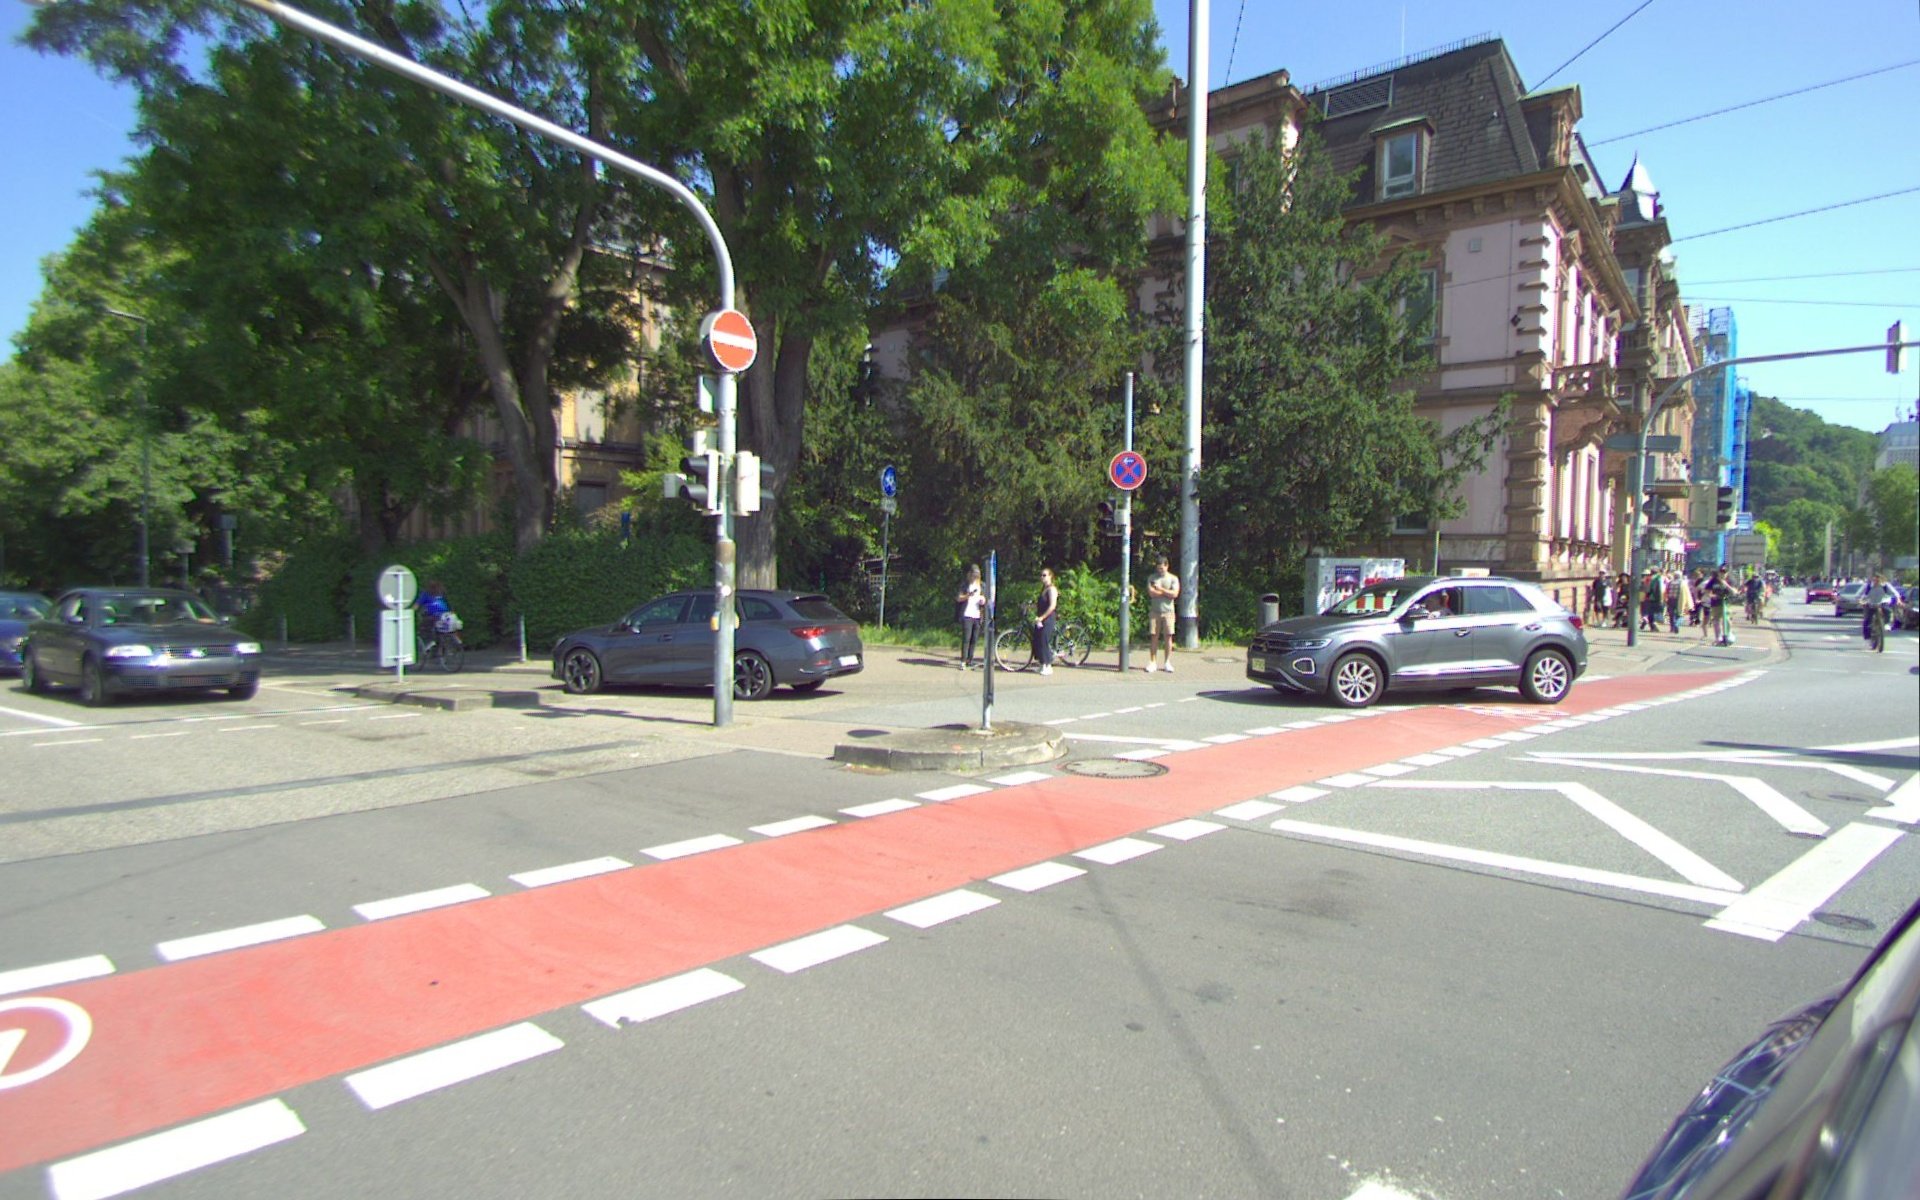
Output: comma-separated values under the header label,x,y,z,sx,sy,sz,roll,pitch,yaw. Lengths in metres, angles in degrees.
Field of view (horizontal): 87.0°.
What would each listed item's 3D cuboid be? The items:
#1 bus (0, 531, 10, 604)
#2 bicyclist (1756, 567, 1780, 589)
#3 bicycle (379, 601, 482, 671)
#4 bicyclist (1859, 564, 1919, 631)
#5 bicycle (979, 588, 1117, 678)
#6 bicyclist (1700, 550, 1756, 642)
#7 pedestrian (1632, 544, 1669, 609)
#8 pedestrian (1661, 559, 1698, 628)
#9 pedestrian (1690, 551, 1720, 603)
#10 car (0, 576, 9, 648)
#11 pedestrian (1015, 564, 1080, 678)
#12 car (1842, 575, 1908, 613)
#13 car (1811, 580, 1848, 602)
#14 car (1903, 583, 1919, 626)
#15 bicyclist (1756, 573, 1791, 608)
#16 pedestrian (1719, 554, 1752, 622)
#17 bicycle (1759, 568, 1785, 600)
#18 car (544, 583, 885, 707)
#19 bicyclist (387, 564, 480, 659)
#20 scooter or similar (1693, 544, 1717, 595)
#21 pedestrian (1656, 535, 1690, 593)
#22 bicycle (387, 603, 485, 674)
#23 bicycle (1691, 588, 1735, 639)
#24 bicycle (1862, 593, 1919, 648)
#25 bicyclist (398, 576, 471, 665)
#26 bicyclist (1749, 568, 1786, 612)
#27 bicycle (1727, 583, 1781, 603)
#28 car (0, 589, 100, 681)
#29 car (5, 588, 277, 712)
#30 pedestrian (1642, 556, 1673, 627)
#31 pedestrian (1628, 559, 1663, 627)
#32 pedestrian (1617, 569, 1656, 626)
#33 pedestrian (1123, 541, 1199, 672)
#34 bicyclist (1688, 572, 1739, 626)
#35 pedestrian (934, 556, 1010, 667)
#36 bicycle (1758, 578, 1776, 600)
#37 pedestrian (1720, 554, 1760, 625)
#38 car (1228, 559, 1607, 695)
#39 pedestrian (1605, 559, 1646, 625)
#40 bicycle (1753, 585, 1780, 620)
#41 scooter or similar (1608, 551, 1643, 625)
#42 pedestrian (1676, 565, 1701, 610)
label,x,y,z,sx,sy,sz,roll,pitch,yaw
bus,-41.426,-1.342,40.897,8.806,2.817,3.068,2,3,38
bicyclist,41.673,-1.153,52.211,0.908,1.096,1.216,3,3,38
bicycle,-9.854,0.637,18.810,2.230,1.179,0.611,2,2,30
bicyclist,20.762,-0.071,22.529,0.907,1.410,1.217,3,3,35
bicycle,1.478,0.514,16.787,2.230,1.219,0.804,-4,6,-29
bicyclist,17.589,-0.105,23.184,0.940,2.038,0.819,3,2,38
pedestrian,22.402,-0.758,32.854,0.810,2.037,0.804,5,4,38
pedestrian,19.176,-0.194,26.972,0.704,1.790,0.891,3,3,37
pedestrian,30.019,-0.921,40.776,0.810,2.037,0.804,5,4,38
car,-21.805,0.226,21.197,4.455,1.461,1.825,1,1,34
pedestrian,1.431,0.309,16.425,0.673,1.730,0.880,3,6,40
car,40.080,-0.283,44.394,1.991,1.593,3.942,1,1,40
car,63.758,-0.668,74.239,1.991,1.593,3.942,1,1,40
car,32.147,0.128,32.893,1.886,1.347,3.944,1,1,39
bicyclist,29.914,-0.355,37.233,0.908,1.249,1.216,3,3,38
pedestrian,23.826,-0.374,31.094,0.659,2.037,0.690,5,4,38
bicycle,29.900,-0.603,37.277,0.640,1.096,2.463,3,3,37
car,-3.371,0.529,14.075,4.228,1.509,1.989,1,1,18
bicyclist,-9.801,0.201,18.870,1.079,1.699,1.159,0,0,30
scooter or similar,30.247,-1.239,41.096,0.691,2.038,1.081,3,2,38
pedestrian,25.672,-1.294,36.441,0.810,2.037,0.804,5,4,38
bicycle,-9.797,0.686,18.909,1.987,1.241,0.710,0,0,31
bicycle,18.252,0.301,24.522,0.777,1.116,2.110,4,3,37
bicycle,20.733,0.422,22.537,0.640,1.096,2.465,3,3,35
bicyclist,-9.753,0.356,18.783,1.050,1.573,0.769,2,2,29
bicyclist,27.716,-0.361,34.769,0.908,1.454,1.216,3,3,38
bicycle,48.418,-0.428,61.725,2.489,1.096,0.634,4,3,43
car,-16.652,0.531,17.322,4.455,1.396,1.825,1,1,34
car,-10.963,0.539,13.455,4.291,1.374,1.857,1,1,37
pedestrian,19.308,-0.251,28.003,0.633,1.915,0.891,1,1,37
pedestrian,18.540,-0.213,27.370,0.704,1.774,0.891,3,3,37
pedestrian,20.289,-0.092,30.353,0.810,1.621,0.804,5,4,38
pedestrian,3.278,0.082,16.464,0.773,2.038,1.045,3,2,39
bicyclist,18.264,-0.045,24.532,0.919,1.234,0.959,3,3,38
pedestrian,0.210,0.178,17.304,1.051,1.801,0.694,1,5,32
bicycle,41.641,-0.594,52.233,0.640,1.096,2.463,3,3,37
pedestrian,23.418,-0.328,30.399,0.810,2.037,0.804,5,4,38
car,5.667,0.317,12.825,3.911,1.535,1.939,1,1,-9
pedestrian,19.213,-0.247,29.202,0.810,1.814,0.804,5,4,38
bicycle,27.776,0.068,34.870,0.640,1.096,2.463,3,3,37
scooter or similar,18.762,-0.351,28.527,0.691,2.038,1.081,3,2,38
pedestrian,28.496,-0.489,39.587,0.705,1.715,0.619,3,4,42
